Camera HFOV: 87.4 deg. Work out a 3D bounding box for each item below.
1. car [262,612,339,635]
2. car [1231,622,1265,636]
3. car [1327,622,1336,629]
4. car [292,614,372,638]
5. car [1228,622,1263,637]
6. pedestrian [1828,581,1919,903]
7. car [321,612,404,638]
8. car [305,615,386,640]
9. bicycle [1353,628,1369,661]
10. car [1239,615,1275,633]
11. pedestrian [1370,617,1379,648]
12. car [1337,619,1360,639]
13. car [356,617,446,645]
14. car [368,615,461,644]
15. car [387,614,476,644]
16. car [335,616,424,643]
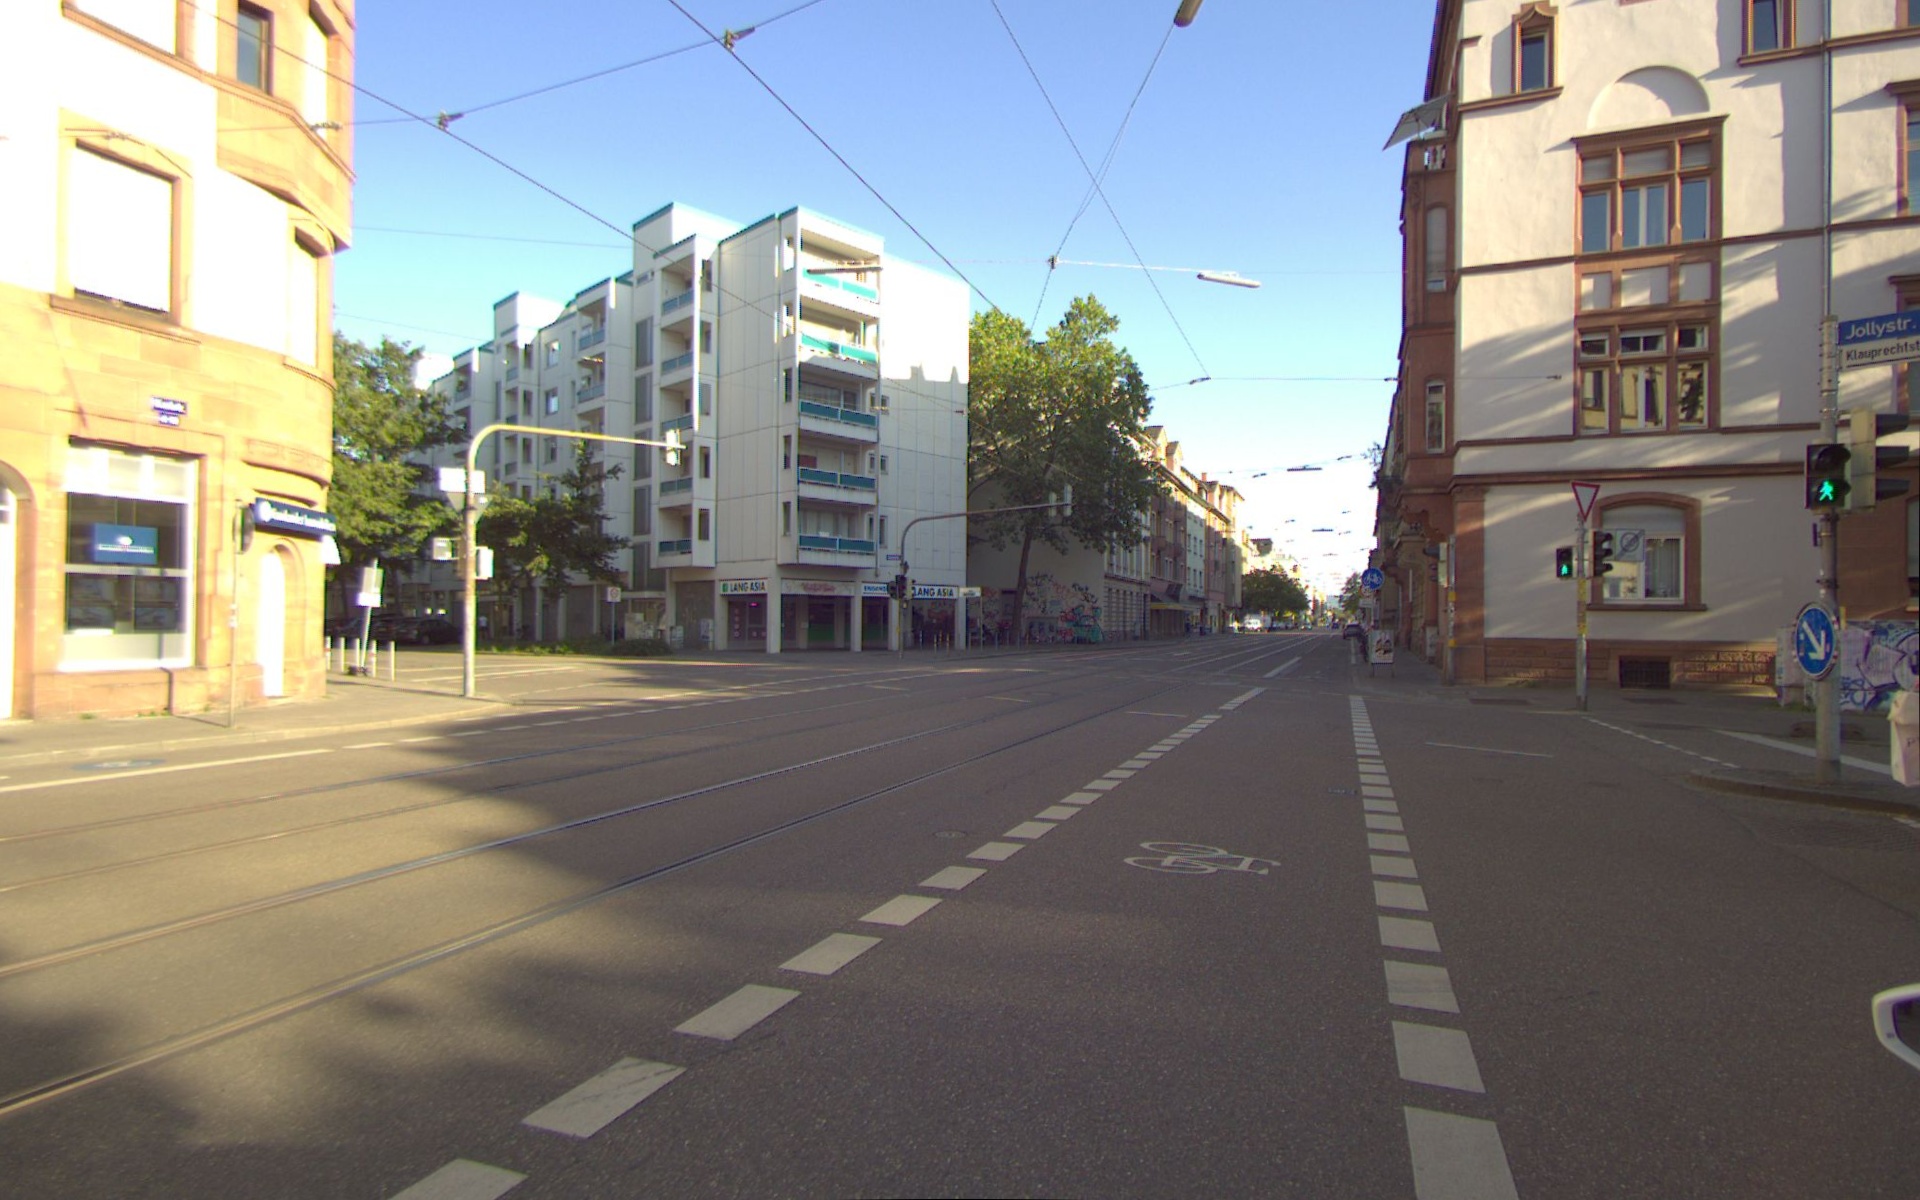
[{"bbox_3d":[-47.706,1.735,72.726,1.969,1.606,4.287,0,-1,38],"label":"car"},{"bbox_3d":[42.888,4.344,149.611,4.665,2.040,2.525,0,-1,24],"label":"car"},{"bbox_3d":[89.553,6.208,242.201,1.960,1.715,4.000,0,-1,19],"label":"car"},{"bbox_3d":[-43.561,1.833,69.752,1.969,1.606,4.287,0,-1,38],"label":"car"},{"bbox_3d":[41.816,4.302,147.256,4.665,2.040,2.289,0,-1,24],"label":"car"},{"bbox_3d":[5.612,0.769,5.559,0.852,1.720,0.985,0,-1,12],"label":"pedestrian"},{"bbox_3d":[-39.278,1.643,66.121,1.969,1.606,4.287,0,-1,38],"label":"car"},{"bbox_3d":[-41.728,1.879,68.240,1.969,1.606,4.287,0,-1,38],"label":"car"},{"bbox_3d":[15.286,1.679,38.297,0.509,1.230,2.008,0,-1,20],"label":"bicycle"},{"bbox_3d":[45.774,3.721,154.933,4.665,2.720,2.525,1,-1,-4],"label":"car"},{"bbox_3d":[24.832,1.965,60.181,0.484,1.835,0.627,0,-1,27],"label":"pedestrian"},{"bbox_3d":[39.721,2.947,102.735,1.962,2.040,3.997,0,-1,25],"label":"car"},{"bbox_3d":[-33.385,1.848,60.130,1.968,1.606,4.289,0,-1,37],"label":"car"},{"bbox_3d":[-31.600,1.717,58.300,1.968,1.606,4.289,0,-1,37],"label":"car"},{"bbox_3d":[-29.729,1.605,56.634,1.968,1.606,3.985,0,-1,37],"label":"car"},{"bbox_3d":[-35.433,1.794,61.383,1.968,1.606,4.289,0,-1,37],"label":"car"}]
